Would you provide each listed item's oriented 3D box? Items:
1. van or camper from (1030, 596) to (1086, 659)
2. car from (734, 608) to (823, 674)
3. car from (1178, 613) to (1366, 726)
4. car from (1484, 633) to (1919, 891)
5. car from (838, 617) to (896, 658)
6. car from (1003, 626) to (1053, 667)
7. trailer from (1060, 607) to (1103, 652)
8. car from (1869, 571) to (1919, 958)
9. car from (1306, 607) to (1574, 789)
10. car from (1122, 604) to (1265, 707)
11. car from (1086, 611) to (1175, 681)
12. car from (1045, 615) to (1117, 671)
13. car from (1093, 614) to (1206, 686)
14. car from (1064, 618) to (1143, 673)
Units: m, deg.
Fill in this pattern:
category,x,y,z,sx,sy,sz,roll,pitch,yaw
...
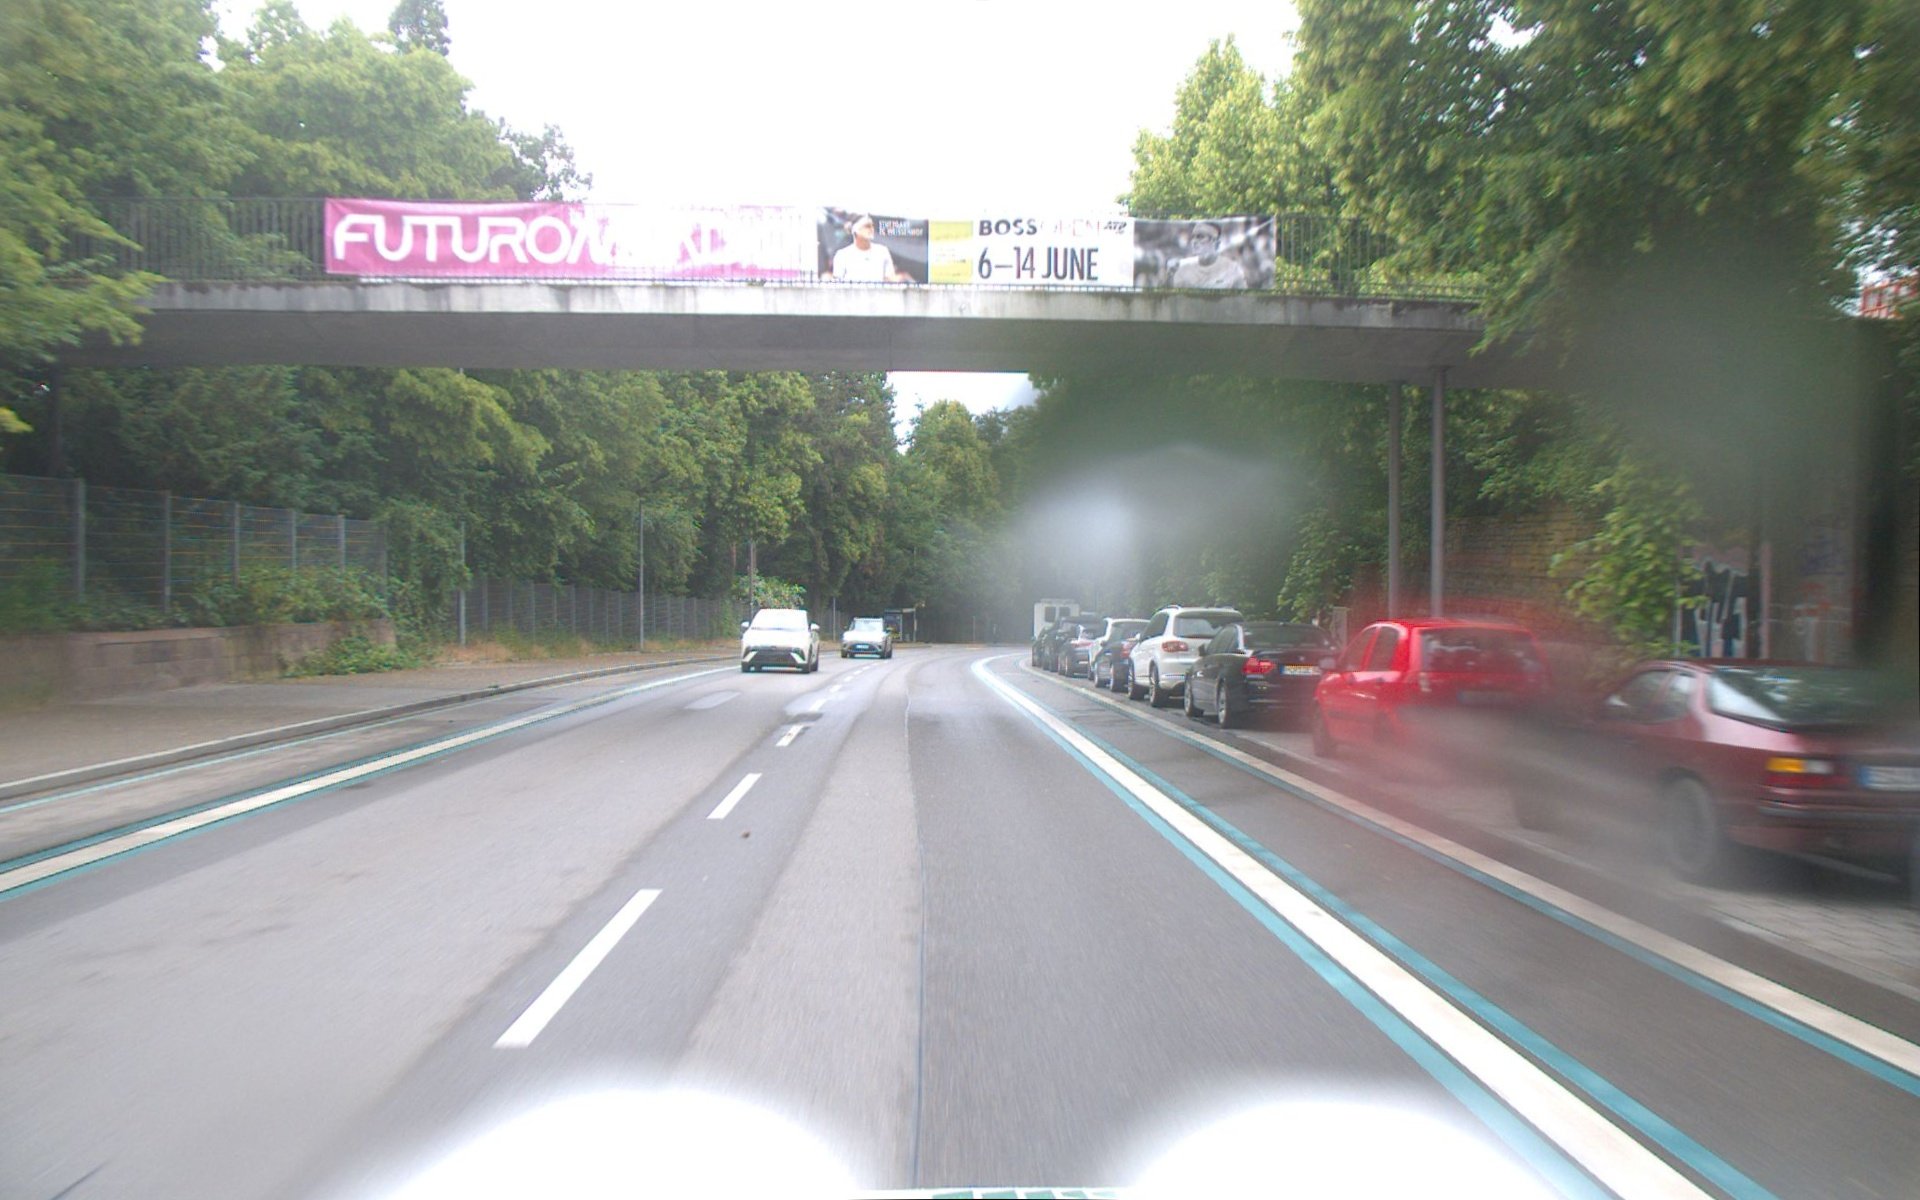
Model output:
category,x,y,z,sx,sy,sz,roll,pitch,yaw
van or camper,4.542,1.252,75.856,2.268,2.711,6.385,1,-1,5
car,-4.519,0.993,41.594,1.932,1.579,3.868,1,0,-2
car,4.267,0.946,23.250,1.639,1.418,4.448,1,-2,-2
car,4.955,0.896,10.751,1.593,1.210,4.181,1,1,-3
car,-3.769,1.536,67.461,1.758,1.604,4.104,0,-1,5
car,2.423,1.676,59.542,1.644,1.400,3.999,1,-2,0
trailer,7.738,1.881,104.738,2.267,2.719,5.380,1,-1,8
car,5.082,0.712,4.892,1.954,1.587,4.638,1,1,-5
car,4.651,0.881,16.527,1.527,1.492,3.625,1,1,-1
car,3.990,0.941,28.916,1.679,1.647,4.258,1,-1,-3
car,4.061,1.099,39.886,1.628,1.562,3.740,2,-1,-1
car,3.751,1.377,51.900,1.953,1.674,4.347,1,-2,0
car,3.898,1.070,34.630,1.683,1.400,4.556,1,-2,-2
car,3.854,1.238,45.038,1.738,1.372,4.465,1,-2,0
